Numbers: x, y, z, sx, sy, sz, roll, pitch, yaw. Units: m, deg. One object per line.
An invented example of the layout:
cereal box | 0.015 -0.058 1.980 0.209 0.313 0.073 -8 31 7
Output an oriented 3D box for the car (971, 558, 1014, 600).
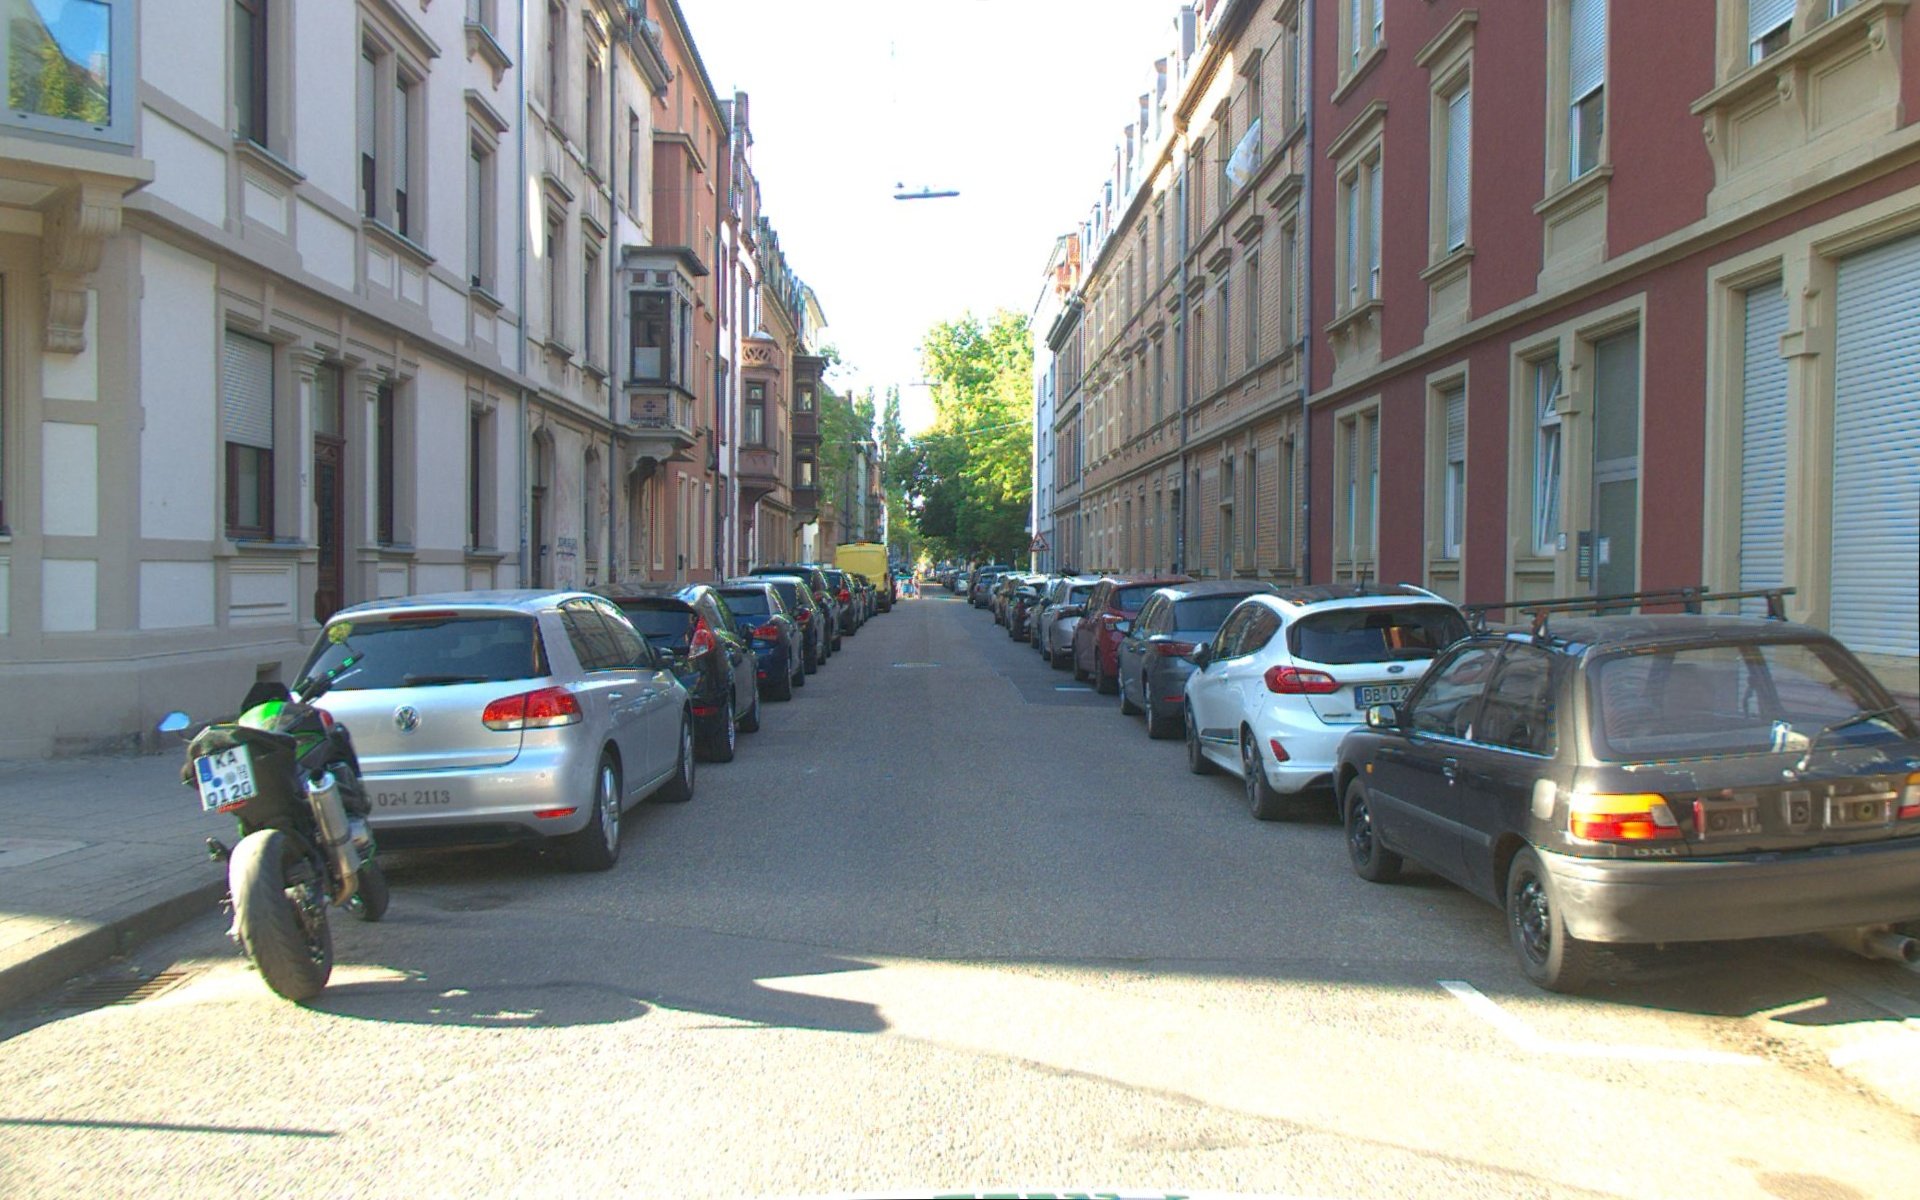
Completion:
car | 1.471 -1.001 76.546 1.718 1.817 4.723 -2 1 -1

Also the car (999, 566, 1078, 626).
car | 2.077 -0.143 44.882 1.691 1.442 4.092 -3 2 -3

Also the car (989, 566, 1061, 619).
car | 1.908 -0.254 49.622 1.719 1.471 4.067 -2 1 -3

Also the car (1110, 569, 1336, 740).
car | 2.616 0.466 17.324 1.642 1.529 4.069 1 1 -1

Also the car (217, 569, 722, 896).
car | -2.613 0.591 9.809 1.744 1.509 3.933 1 1 1

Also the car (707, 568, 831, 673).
car | -2.928 0.260 25.984 1.610 1.481 3.838 -2 1 -2

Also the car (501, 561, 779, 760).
car | -2.677 0.430 14.653 1.745 1.509 3.742 1 1 -1

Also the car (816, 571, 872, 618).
car | -3.590 -0.204 51.584 1.585 1.349 3.611 -2 1 -2

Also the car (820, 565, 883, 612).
car | -3.658 -0.403 56.306 1.683 1.437 3.899 -4 1 2

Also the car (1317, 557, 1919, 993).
car | 2.938 0.578 7.625 1.635 1.509 3.705 1 1 -2

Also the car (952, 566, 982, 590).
car | 0.466 -1.484 110.626 1.690 1.549 3.997 0 1 -4

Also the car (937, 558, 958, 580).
car | -1.373 -3.386 182.297 2.117 2.295 4.524 1 1 -2

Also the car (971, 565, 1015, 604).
car | 1.395 -0.680 71.111 1.718 1.478 4.288 -3 2 0

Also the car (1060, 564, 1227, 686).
car | 2.450 0.277 22.965 1.626 1.505 4.022 1 1 -3

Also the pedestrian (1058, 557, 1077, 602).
pedestrian | 3.949 -0.757 60.886 0.640 1.659 0.881 -1 0 2

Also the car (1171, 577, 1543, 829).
car | 2.695 0.610 12.141 1.671 1.488 3.969 1 1 -1

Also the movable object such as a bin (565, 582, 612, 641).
movable object such as a bin | -6.090 0.186 27.138 0.600 0.936 0.733 1 1 -2

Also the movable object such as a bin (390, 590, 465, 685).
movable object such as a bin | -5.736 0.396 17.835 0.609 0.972 0.511 2 1 -2

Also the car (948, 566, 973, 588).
car | 0.000 -1.828 131.899 1.856 1.653 3.999 1 1 -2

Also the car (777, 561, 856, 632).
car | -3.489 -0.135 40.840 1.745 1.634 4.068 1 1 -3

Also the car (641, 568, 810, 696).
car | -2.859 0.339 20.857 1.745 1.427 3.741 1 1 -3

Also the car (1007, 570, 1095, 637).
car | 2.073 0.032 38.632 1.741 1.421 4.317 1 1 -1

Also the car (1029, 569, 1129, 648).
car | 2.311 0.129 33.081 1.657 1.430 3.992 1 1 -1

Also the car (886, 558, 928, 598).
car | -2.503 -1.026 77.516 1.783 1.797 4.332 1 1 -4

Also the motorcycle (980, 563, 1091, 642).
motorcycle | 1.631 0.057 35.578 2.193 1.563 0.882 3 1 -28

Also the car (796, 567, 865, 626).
car | -3.572 -0.140 46.185 1.660 1.500 3.918 -2 1 -1

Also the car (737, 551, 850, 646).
car | -3.063 -0.068 31.163 1.725 1.645 4.189 1 1 -1

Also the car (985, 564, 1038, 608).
car | 1.982 -0.591 65.237 1.719 1.544 4.442 -3 2 -2

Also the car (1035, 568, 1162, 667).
car | 2.259 0.232 28.015 1.726 1.509 4.401 1 1 -1

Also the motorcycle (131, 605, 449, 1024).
motorcycle | -2.601 0.735 6.666 0.664 1.357 1.997 -2 1 -8

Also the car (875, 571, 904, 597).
car | -4.965 -1.134 116.794 1.843 1.737 4.000 0 1 -1

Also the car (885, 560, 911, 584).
car | -5.796 -2.633 154.624 2.262 2.151 5.169 1 1 0

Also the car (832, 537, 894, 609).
car | -3.630 -1.048 62.973 2.131 2.551 5.877 -1 1 -2
